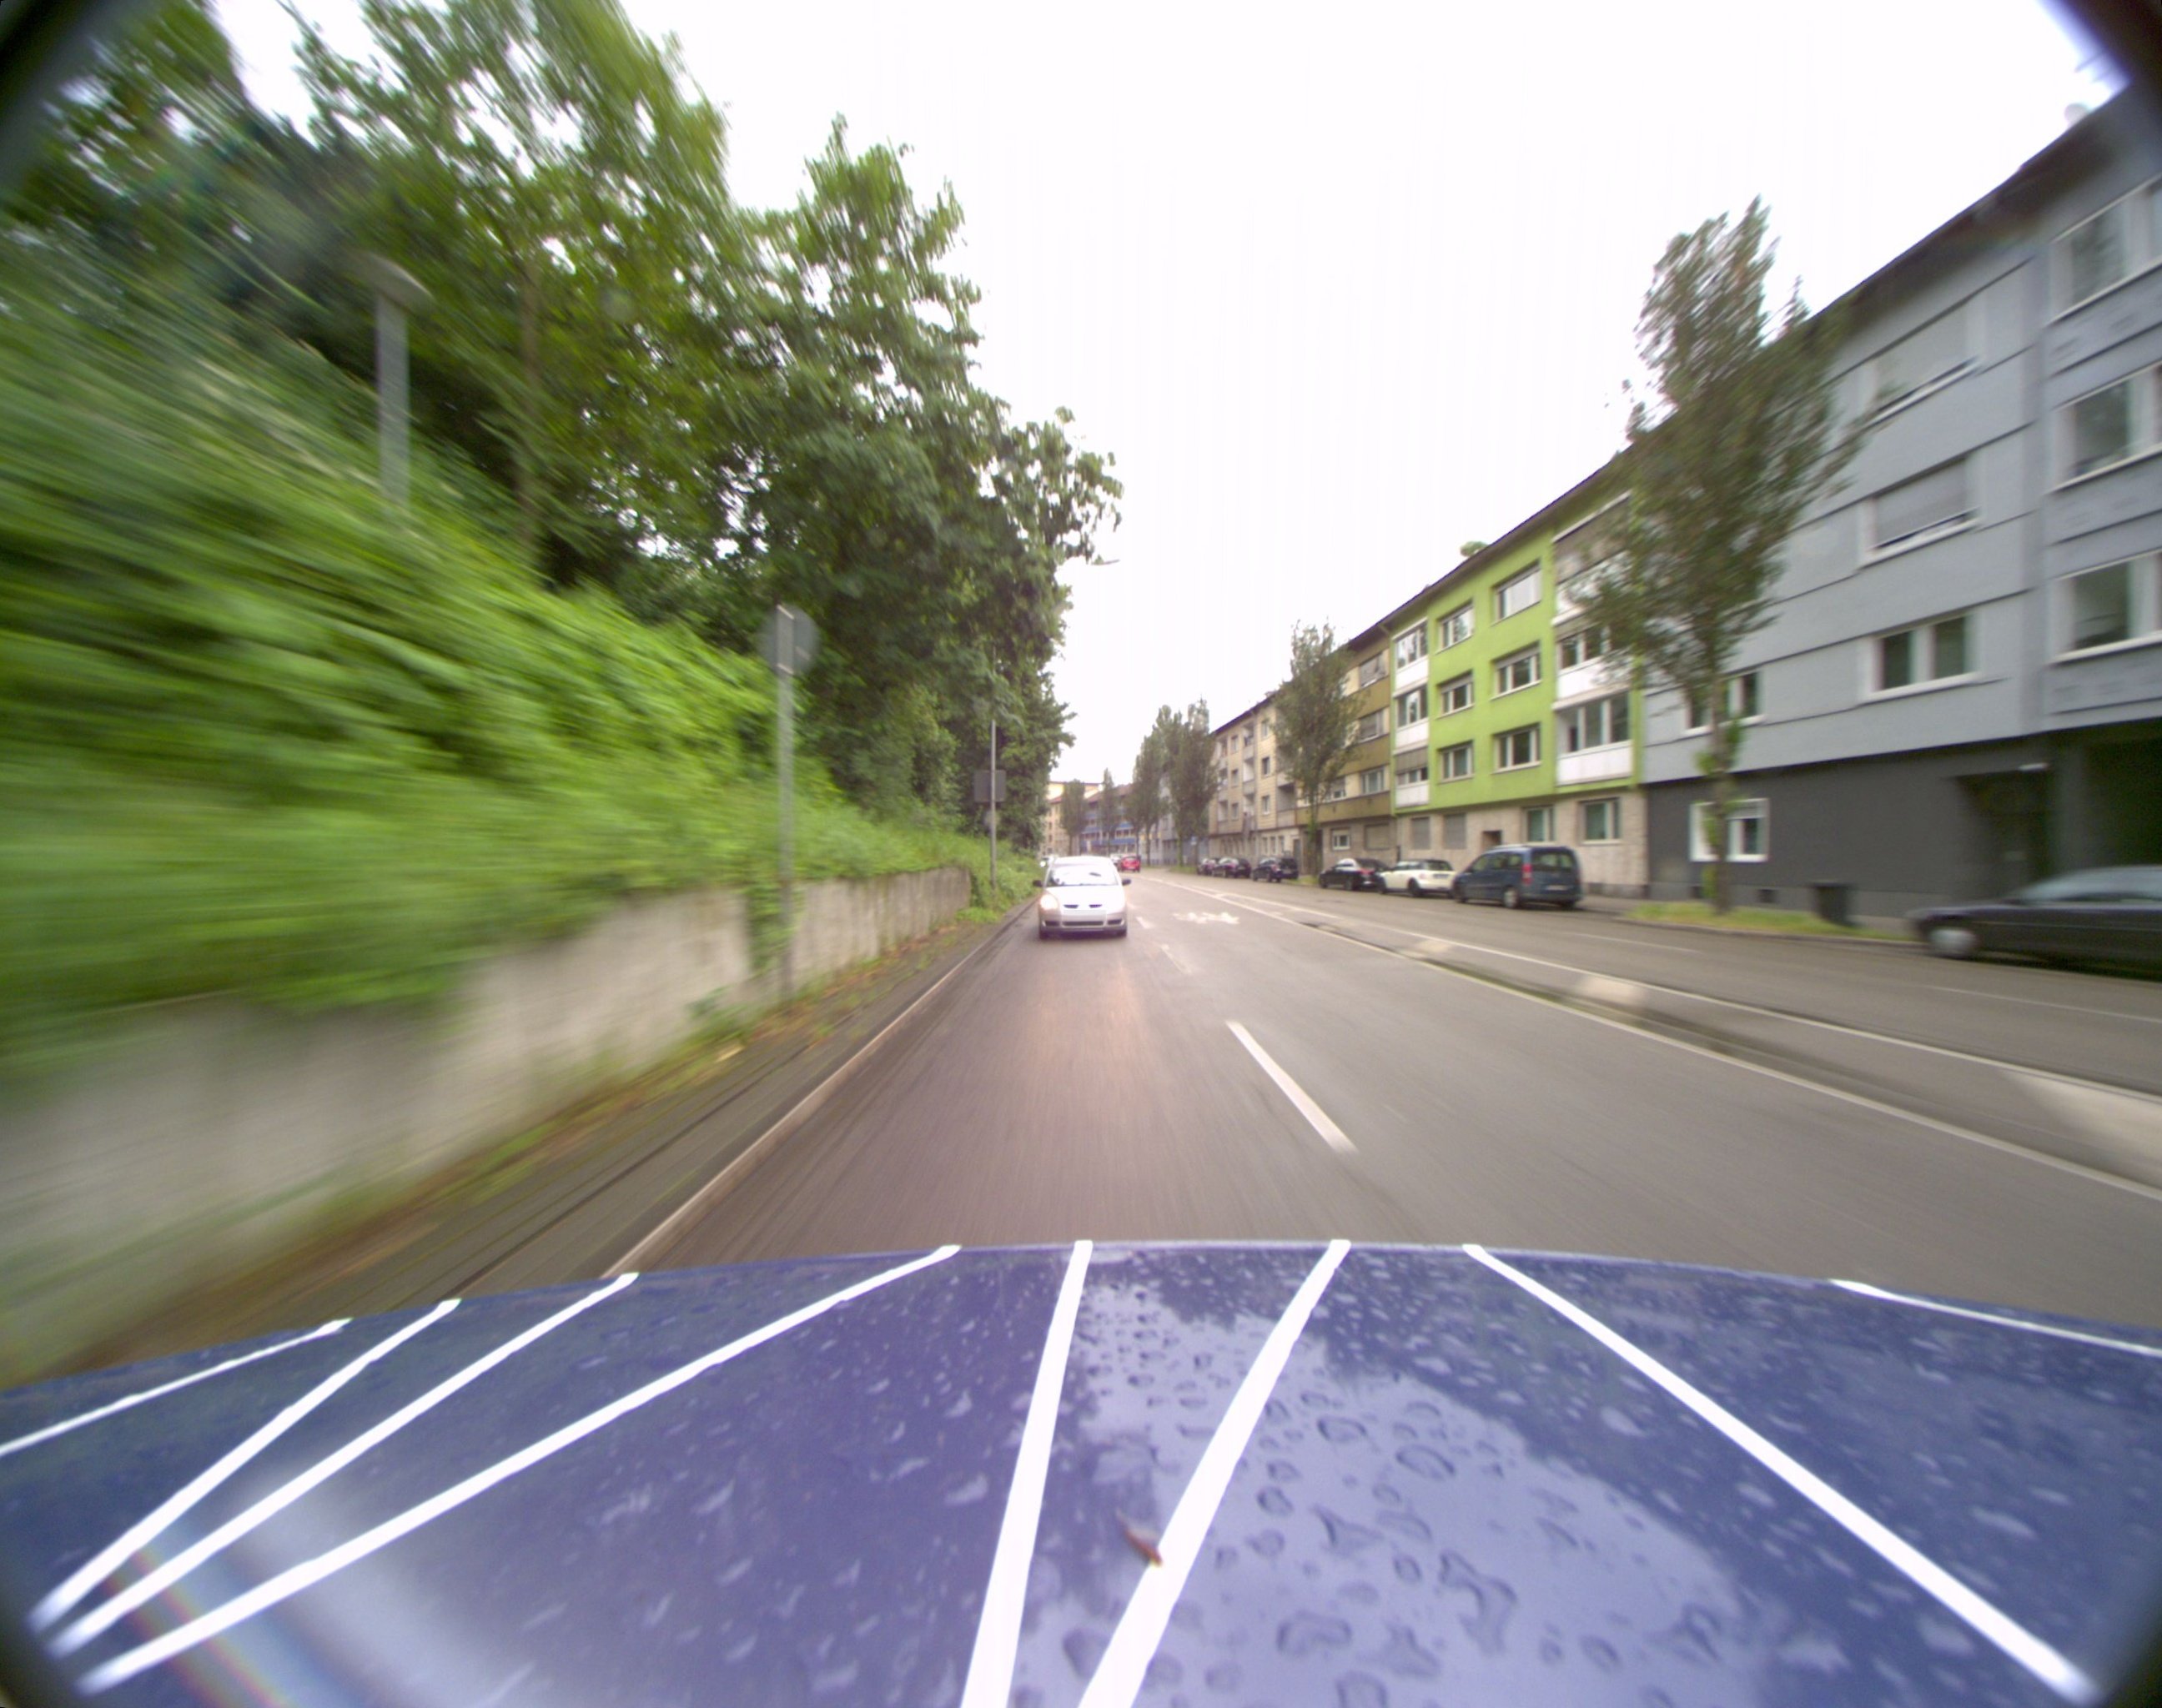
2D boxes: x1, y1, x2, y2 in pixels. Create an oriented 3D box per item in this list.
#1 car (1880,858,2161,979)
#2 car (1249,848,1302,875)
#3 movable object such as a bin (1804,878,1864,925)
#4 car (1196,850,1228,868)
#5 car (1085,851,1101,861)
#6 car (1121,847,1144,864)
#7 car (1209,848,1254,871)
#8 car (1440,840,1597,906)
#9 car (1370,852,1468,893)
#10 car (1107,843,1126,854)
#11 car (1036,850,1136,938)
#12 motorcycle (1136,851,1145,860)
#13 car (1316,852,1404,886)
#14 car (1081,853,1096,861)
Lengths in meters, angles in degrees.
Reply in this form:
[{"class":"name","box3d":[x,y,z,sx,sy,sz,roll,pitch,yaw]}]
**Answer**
[{"class":"car","box3d":[13.172,0.790,9.350,1.693,1.350,4.578,3,0,-2]},{"class":"car","box3d":[11.516,0.435,45.261,1.723,1.480,4.512,1,0,-4]},{"class":"movable object such as a bin","box3d":[13.758,0.854,13.900,0.470,0.812,0.609,1,1,-3]},{"class":"car","box3d":[10.352,0.354,60.346,1.630,1.379,3.986,0,0,-4]},{"class":"car","box3d":[2.017,0.321,128.266,1.827,1.431,4.887,1,0,-10]},{"class":"car","box3d":[4.628,0.110,68.732,1.711,1.470,3.678,0,1,-3]},{"class":"car","box3d":[10.647,0.365,54.115,1.823,1.480,4.787,1,0,-5]},{"class":"car","box3d":[12.822,0.489,22.685,1.896,1.756,4.599,1,1,-2]},{"class":"car","box3d":[12.540,0.649,28.451,1.685,1.368,3.998,2,0,-3]},{"class":"car","box3d":[5.179,-0.768,111.270,1.770,1.594,4.529,0,0,-9]},{"class":"car","box3d":[-0.009,0.701,15.678,1.753,1.510,3.998,-2,1,-3]},{"class":"motorcycle","box3d":[9.678,0.170,123.807,0.678,1.406,2.233,-3,1,-17]},{"class":"car","box3d":[12.150,0.596,33.450,1.823,1.364,4.678,1,0,-5]},{"class":"car","box3d":[1.357,0.475,133.666,1.786,1.395,4.084,1,0,-11]}]
